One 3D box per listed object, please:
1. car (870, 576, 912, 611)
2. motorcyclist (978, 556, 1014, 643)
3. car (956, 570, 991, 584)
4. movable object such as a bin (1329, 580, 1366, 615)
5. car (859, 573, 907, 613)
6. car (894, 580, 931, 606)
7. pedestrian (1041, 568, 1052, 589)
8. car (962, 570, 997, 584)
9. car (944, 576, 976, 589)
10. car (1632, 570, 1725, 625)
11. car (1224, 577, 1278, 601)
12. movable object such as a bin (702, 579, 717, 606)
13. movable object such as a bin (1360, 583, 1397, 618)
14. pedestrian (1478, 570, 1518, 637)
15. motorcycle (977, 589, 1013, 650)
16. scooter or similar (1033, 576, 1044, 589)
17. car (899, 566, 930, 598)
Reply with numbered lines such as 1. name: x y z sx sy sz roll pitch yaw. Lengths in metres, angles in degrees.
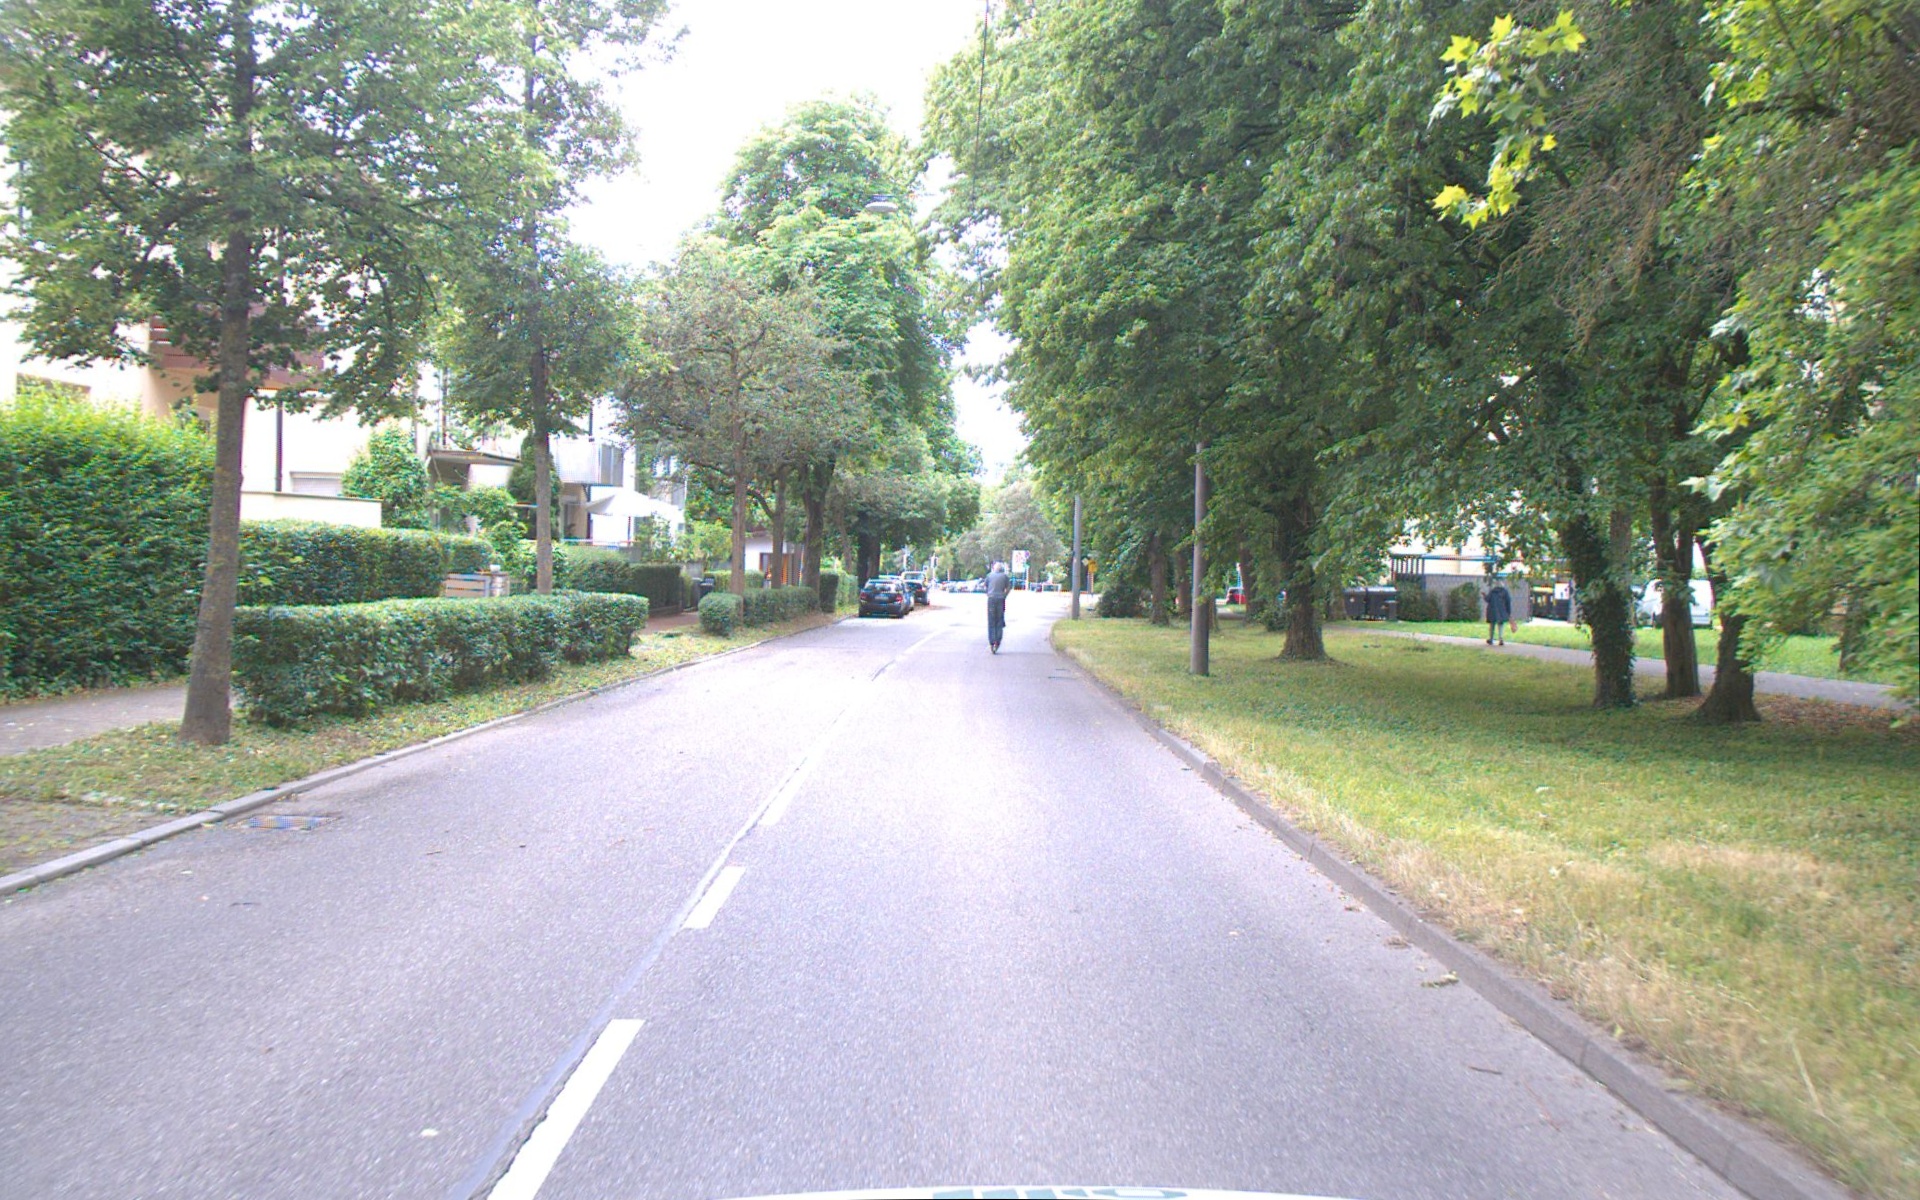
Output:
1. car: -2.898 -0.296 70.112 1.630 1.416 3.706 1 1 -1
2. motorcyclist: 0.772 -0.013 35.052 0.659 1.792 0.639 3 0 2
3. car: 1.512 -2.598 189.742 3.906 1.536 1.800 1 1 -2
4. movable object such as a bin: 17.162 -0.098 73.228 1.299 1.527 1.314 0 1 -1
5. car: -2.988 -0.294 64.983 1.758 1.498 4.417 1 1 -1
6. car: -2.719 -0.409 96.158 1.852 1.435 4.555 1 0 2
7. pedestrian: 7.543 -1.852 143.866 0.717 1.792 0.662 1 0 20
8. car: 2.194 -2.578 187.832 3.906 1.536 1.800 1 1 -2
9. car: -0.062 -2.133 204.549 3.906 1.536 1.800 1 1 -2
10. car: 26.732 -0.142 61.710 2.041 1.875 4.972 0 2 9
11. car: 22.040 -0.837 125.202 3.903 1.584 1.802 3 4 14
12. movable object such as a bin: -8.533 -0.259 56.345 0.447 0.931 0.508 1 0 -5
13. movable object such as a bin: 18.550 0.017 73.351 1.299 1.527 1.314 0 1 -1
14. pedestrian: 14.012 0.085 43.096 0.752 1.716 0.814 0 0 0
15. motorcycle: 0.745 0.398 34.798 0.659 1.238 1.274 3 1 2
16. scooter or similar: 6.839 -1.505 144.111 0.695 1.067 0.787 1 0 20
17. car: -2.947 -1.163 106.935 1.821 1.998 4.501 1 0 -4
